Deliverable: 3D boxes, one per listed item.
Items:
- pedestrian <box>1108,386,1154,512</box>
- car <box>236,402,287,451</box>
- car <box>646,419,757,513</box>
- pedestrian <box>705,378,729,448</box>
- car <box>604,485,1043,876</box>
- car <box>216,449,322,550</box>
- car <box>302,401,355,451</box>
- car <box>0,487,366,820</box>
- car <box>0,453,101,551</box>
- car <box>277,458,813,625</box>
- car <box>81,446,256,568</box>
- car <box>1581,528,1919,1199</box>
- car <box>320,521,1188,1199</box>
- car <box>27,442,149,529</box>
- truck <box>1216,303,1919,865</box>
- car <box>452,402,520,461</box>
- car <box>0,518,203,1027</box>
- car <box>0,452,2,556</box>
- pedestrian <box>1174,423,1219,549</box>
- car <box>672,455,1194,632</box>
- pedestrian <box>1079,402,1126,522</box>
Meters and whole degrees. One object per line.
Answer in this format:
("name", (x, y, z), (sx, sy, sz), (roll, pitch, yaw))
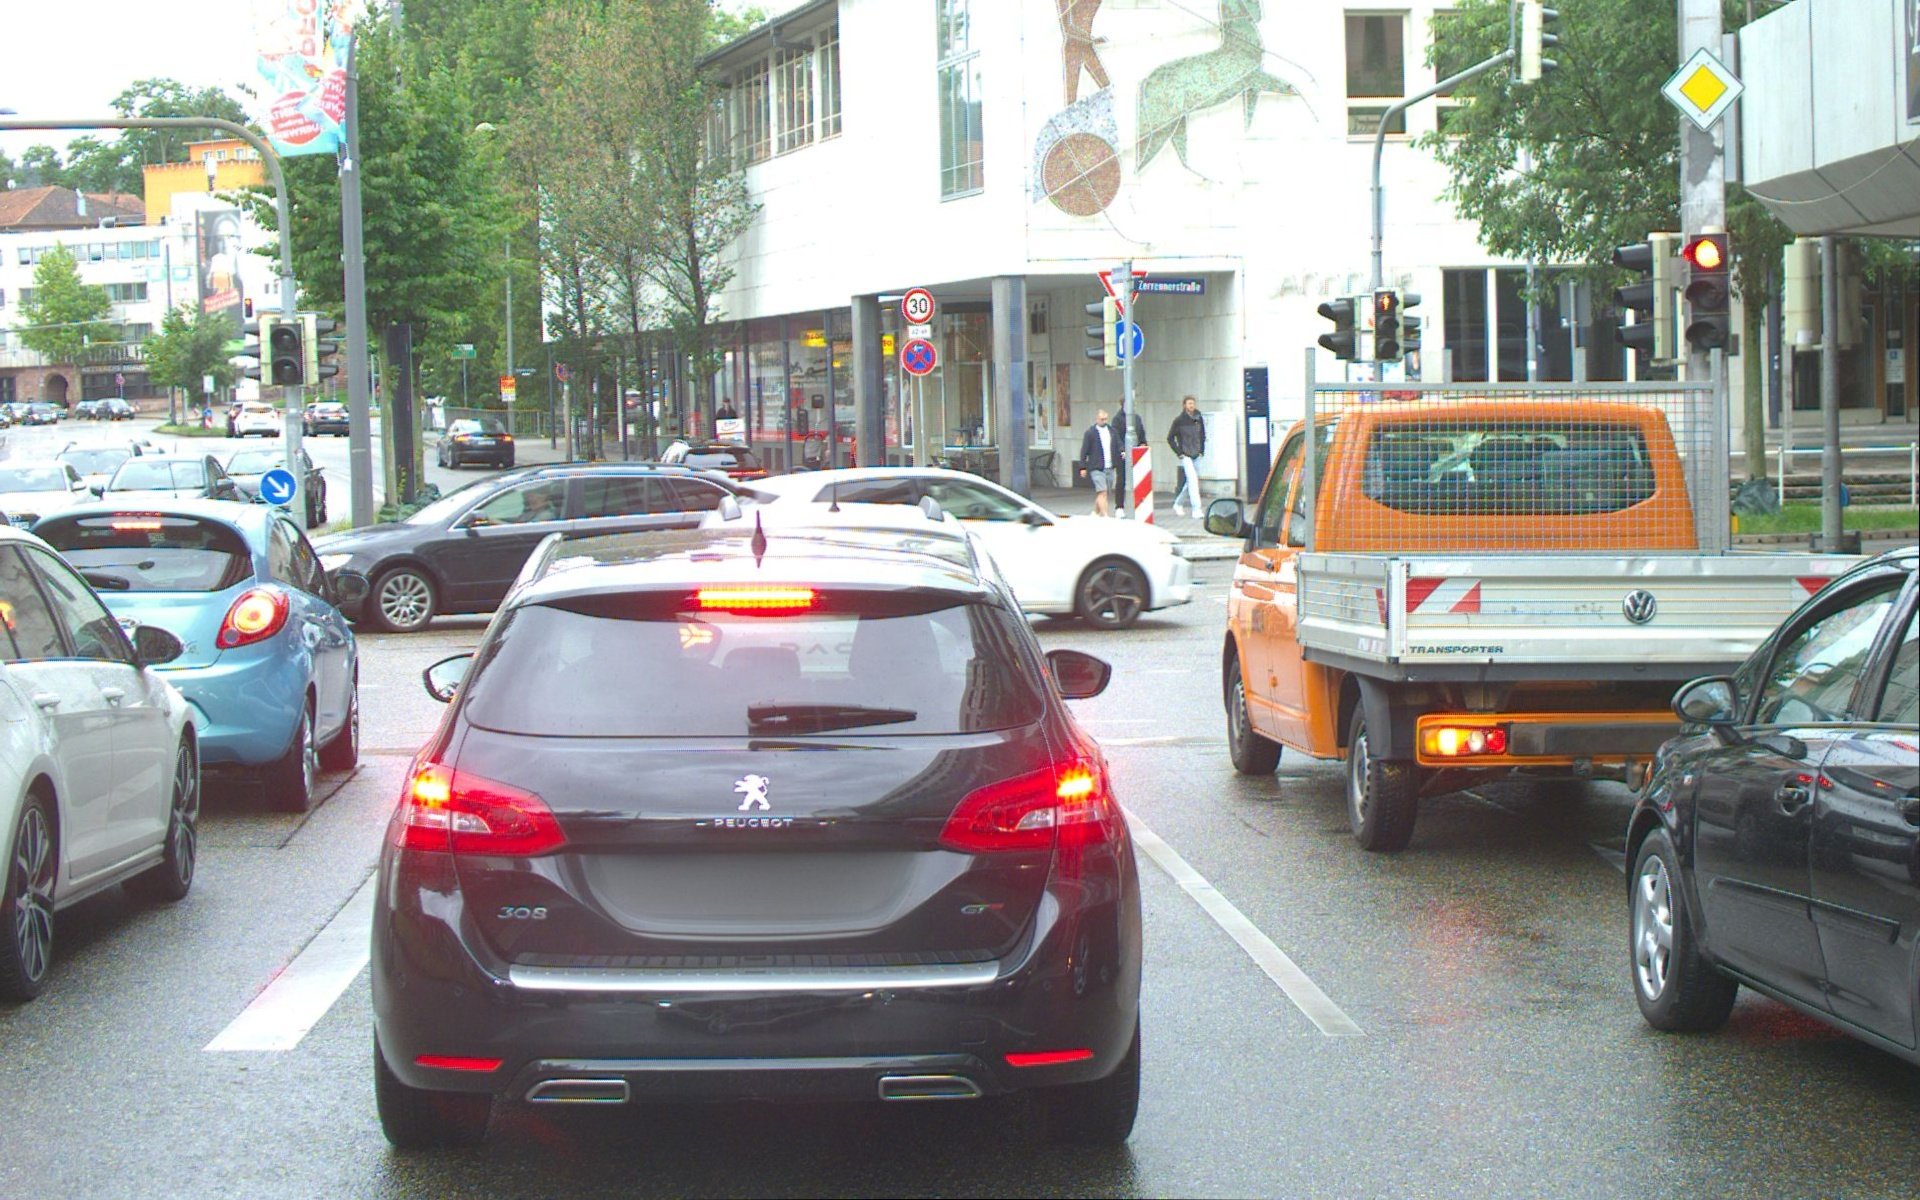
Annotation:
("pedestrian", (2.607, -2.294, 52.405), (0.637, 1.891, 0.733), (0, 0, 6))
("car", (-29.662, -7.356, 145.953), (1.705, 1.875, 4.001), (1, 0, -18))
("car", (-4.563, -2.375, 60.222), (1.787, 1.449, 4.508), (-3, 4, -5))
("pedestrian", (-6.168, -4.741, 87.320), (0.468, 1.742, 0.541), (1, 0, -21))
("car", (-0.558, 0.252, 15.281), (1.696, 1.481, 3.794), (1, 2, -1))
("car", (-12.016, -1.725, 59.906), (1.744, 1.634, 4.001), (1, 0, -11))
("car", (-27.041, -7.425, 147.129), (1.705, 1.929, 4.001), (1, 0, -18))
("car", (-3.985, 0.190, 17.449), (1.632, 1.481, 3.610), (0, 2, -5))
("car", (-14.586, -1.570, 54.073), (1.632, 1.481, 3.611), (0, 2, -7))
("car", (-3.878, -0.565, 32.157), (4.721, 1.481, 1.639), (0, 2, -20))
("car", (-10.974, -1.262, 47.909), (1.744, 1.574, 4.000), (1, 0, -4))
("car", (2.832, 0.559, 8.652), (1.616, 1.424, 3.843), (0, 2, -3))
("car", (-0.496, 0.529, 9.006), (1.777, 1.424, 3.843), (0, 2, -2))
("car", (-15.403, -2.048, 60.860), (1.632, 1.481, 3.611), (0, 2, -7))
("truck", (2.580, -0.158, 15.856), (2.177, 2.165, 5.021), (1, 2, -3))
("car", (-13.907, -4.916, 100.710), (1.724, 1.485, 4.734), (1, 0, -11))
("car", (-3.731, 0.454, 11.434), (1.777, 1.424, 3.843), (0, 2, -3))
("car", (-14.294, -1.298, 47.050), (1.574, 1.481, 3.610), (0, 2, -4))
("pedestrian", (3.604, -1.730, 52.296), (0.637, 1.891, 0.733), (0, 0, 6))
("car", (-0.257, -0.508, 30.094), (4.291, 1.481, 1.639), (0, 2, -14))
("pedestrian", (2.114, -2.040, 51.025), (0.637, 1.752, 0.733), (0, 0, 6))
